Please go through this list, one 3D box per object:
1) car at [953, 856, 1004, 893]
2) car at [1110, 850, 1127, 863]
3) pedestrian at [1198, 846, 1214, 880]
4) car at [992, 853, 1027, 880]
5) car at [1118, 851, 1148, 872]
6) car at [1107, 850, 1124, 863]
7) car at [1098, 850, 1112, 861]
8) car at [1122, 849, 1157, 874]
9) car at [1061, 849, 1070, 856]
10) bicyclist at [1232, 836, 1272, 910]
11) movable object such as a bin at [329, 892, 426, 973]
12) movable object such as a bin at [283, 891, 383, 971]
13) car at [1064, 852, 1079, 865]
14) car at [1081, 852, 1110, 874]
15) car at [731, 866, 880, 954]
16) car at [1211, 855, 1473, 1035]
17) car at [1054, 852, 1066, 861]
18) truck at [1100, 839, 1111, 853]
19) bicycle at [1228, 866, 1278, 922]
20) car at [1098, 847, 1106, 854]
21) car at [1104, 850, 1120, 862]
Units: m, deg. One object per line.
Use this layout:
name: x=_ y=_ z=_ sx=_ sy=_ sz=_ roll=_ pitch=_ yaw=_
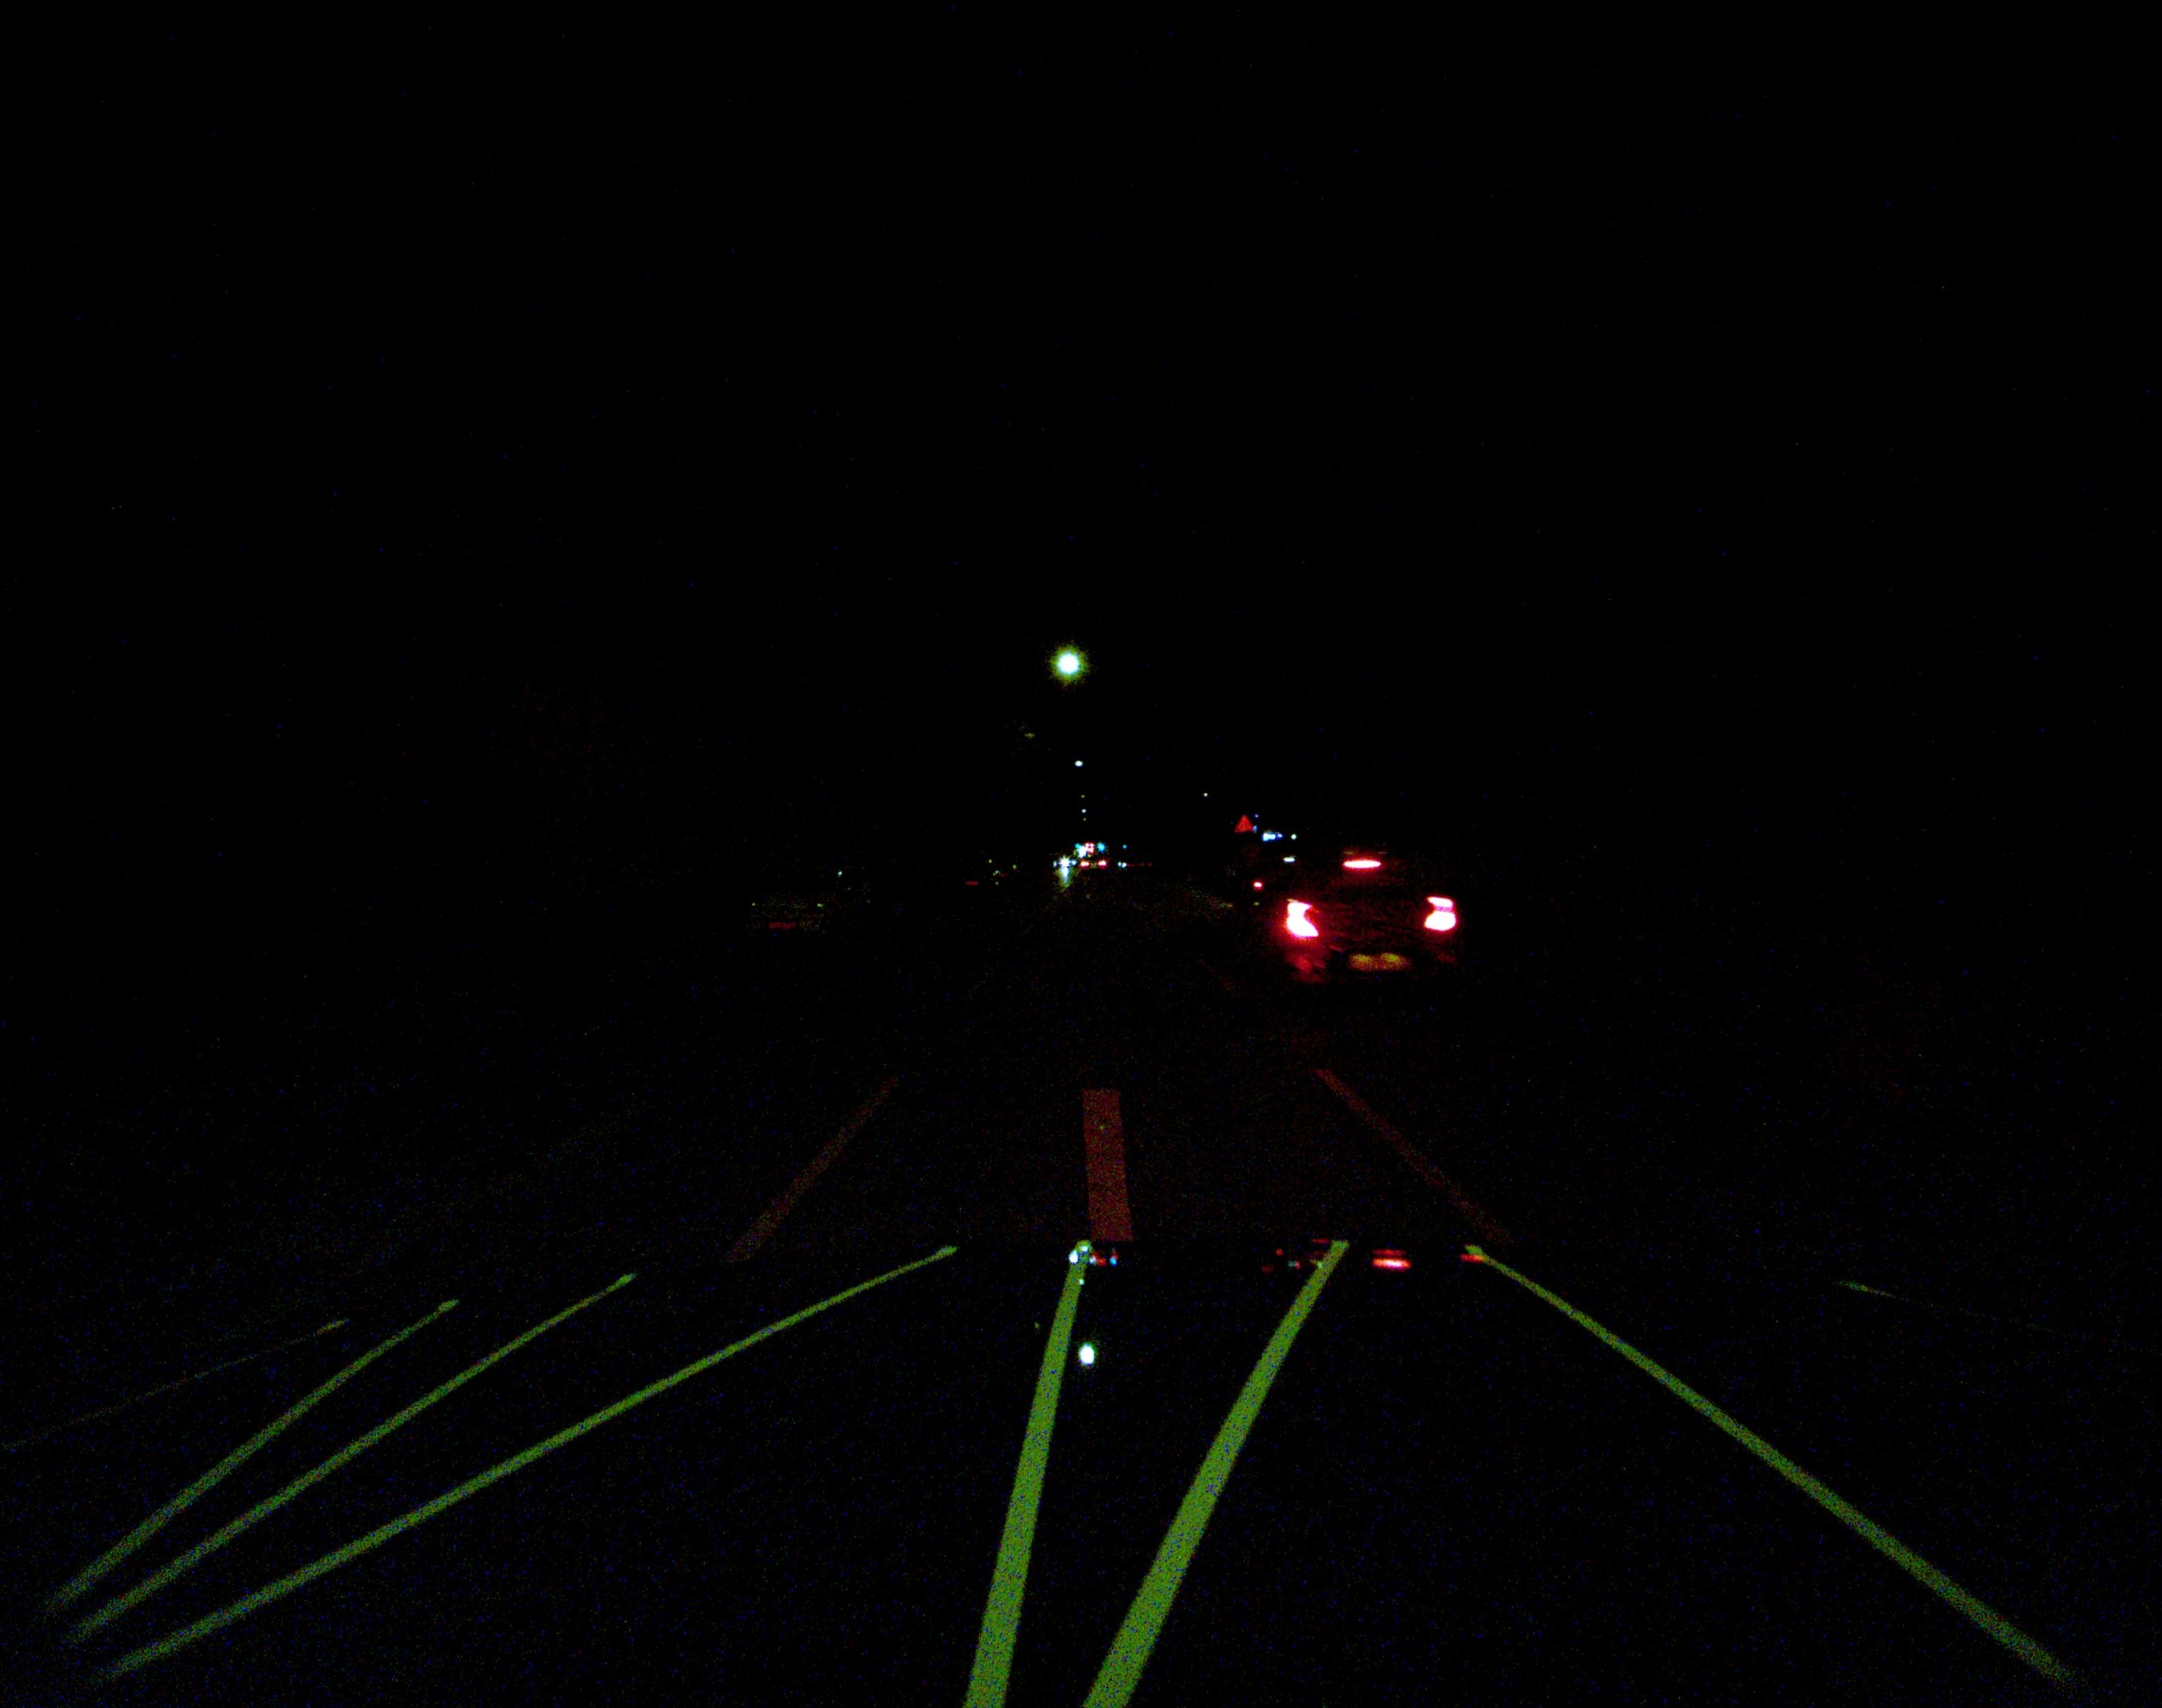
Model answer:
car: x=-4.565 y=0.865 z=34.278 sx=1.865 sy=1.544 sz=4.044 roll=0 pitch=0 yaw=-1
car: x=4.972 y=0.321 z=100.859 sx=1.874 sy=1.635 sz=3.999 roll=-2 pitch=0 yaw=-3
pedestrian: x=6.558 y=0.464 z=39.890 sx=0.670 sy=1.716 sz=0.866 roll=-2 pitch=1 yaw=-2
car: x=-4.448 y=0.765 z=47.799 sx=1.742 sy=1.588 sz=4.359 roll=0 pitch=0 yaw=1
car: x=3.897 y=0.554 z=57.834 sx=1.864 sy=1.458 sz=3.896 roll=-4 pitch=0 yaw=-1
car: x=4.730 y=0.348 z=105.115 sx=1.874 sy=1.635 sz=3.999 roll=-2 pitch=0 yaw=-3
car: x=3.735 y=0.199 z=119.485 sx=1.874 sy=1.635 sz=3.999 roll=-2 pitch=0 yaw=-3
car: x=3.974 y=0.510 z=52.319 sx=1.864 sy=1.524 sz=4.587 roll=-4 pitch=0 yaw=-1
car: x=-3.299 y=-0.343 z=161.806 sx=1.874 sy=1.407 sz=3.999 roll=-2 pitch=0 yaw=0
bicyclist: x=3.914 y=0.412 z=17.418 sx=0.692 sy=1.628 sz=0.896 roll=-2 pitch=1 yaw=1
movable object such as a bin: x=-9.897 y=1.086 z=10.716 sx=0.609 sy=1.042 sz=0.755 roll=-2 pitch=1 yaw=1
movable object such as a bin: x=-10.569 y=1.070 z=10.756 sx=0.609 sy=1.042 sz=0.755 roll=-2 pitch=1 yaw=1
car: x=-1.217 y=0.538 z=101.579 sx=1.874 sy=1.635 sz=3.999 roll=-2 pitch=0 yaw=0
car: x=1.042 y=0.635 z=56.005 sx=1.862 sy=1.525 sz=4.026 roll=-2 pitch=0 yaw=-3
car: x=-5.332 y=1.025 z=15.192 sx=1.672 sy=1.476 sz=3.603 roll=0 pitch=0 yaw=0
car: x=2.562 y=0.792 z=8.297 sx=1.586 sy=1.493 sz=3.395 roll=-2 pitch=0 yaw=-1
car: x=-3.575 y=0.384 z=129.505 sx=1.874 sy=1.407 sz=3.999 roll=-2 pitch=0 yaw=0
truck: x=4.975 y=-1.633 z=155.497 sx=2.084 sy=2.562 sz=6.873 roll=-2 pitch=0 yaw=1
bicycle: x=3.923 y=0.880 z=17.475 sx=0.698 sy=1.142 sz=1.950 roll=-2 pitch=1 yaw=1
car: x=5.009 y=-0.768 z=180.303 sx=1.873 sy=1.551 sz=4.353 roll=-2 pitch=0 yaw=1
car: x=4.448 y=0.289 z=110.053 sx=1.874 sy=1.635 sz=3.999 roll=-2 pitch=0 yaw=-3
